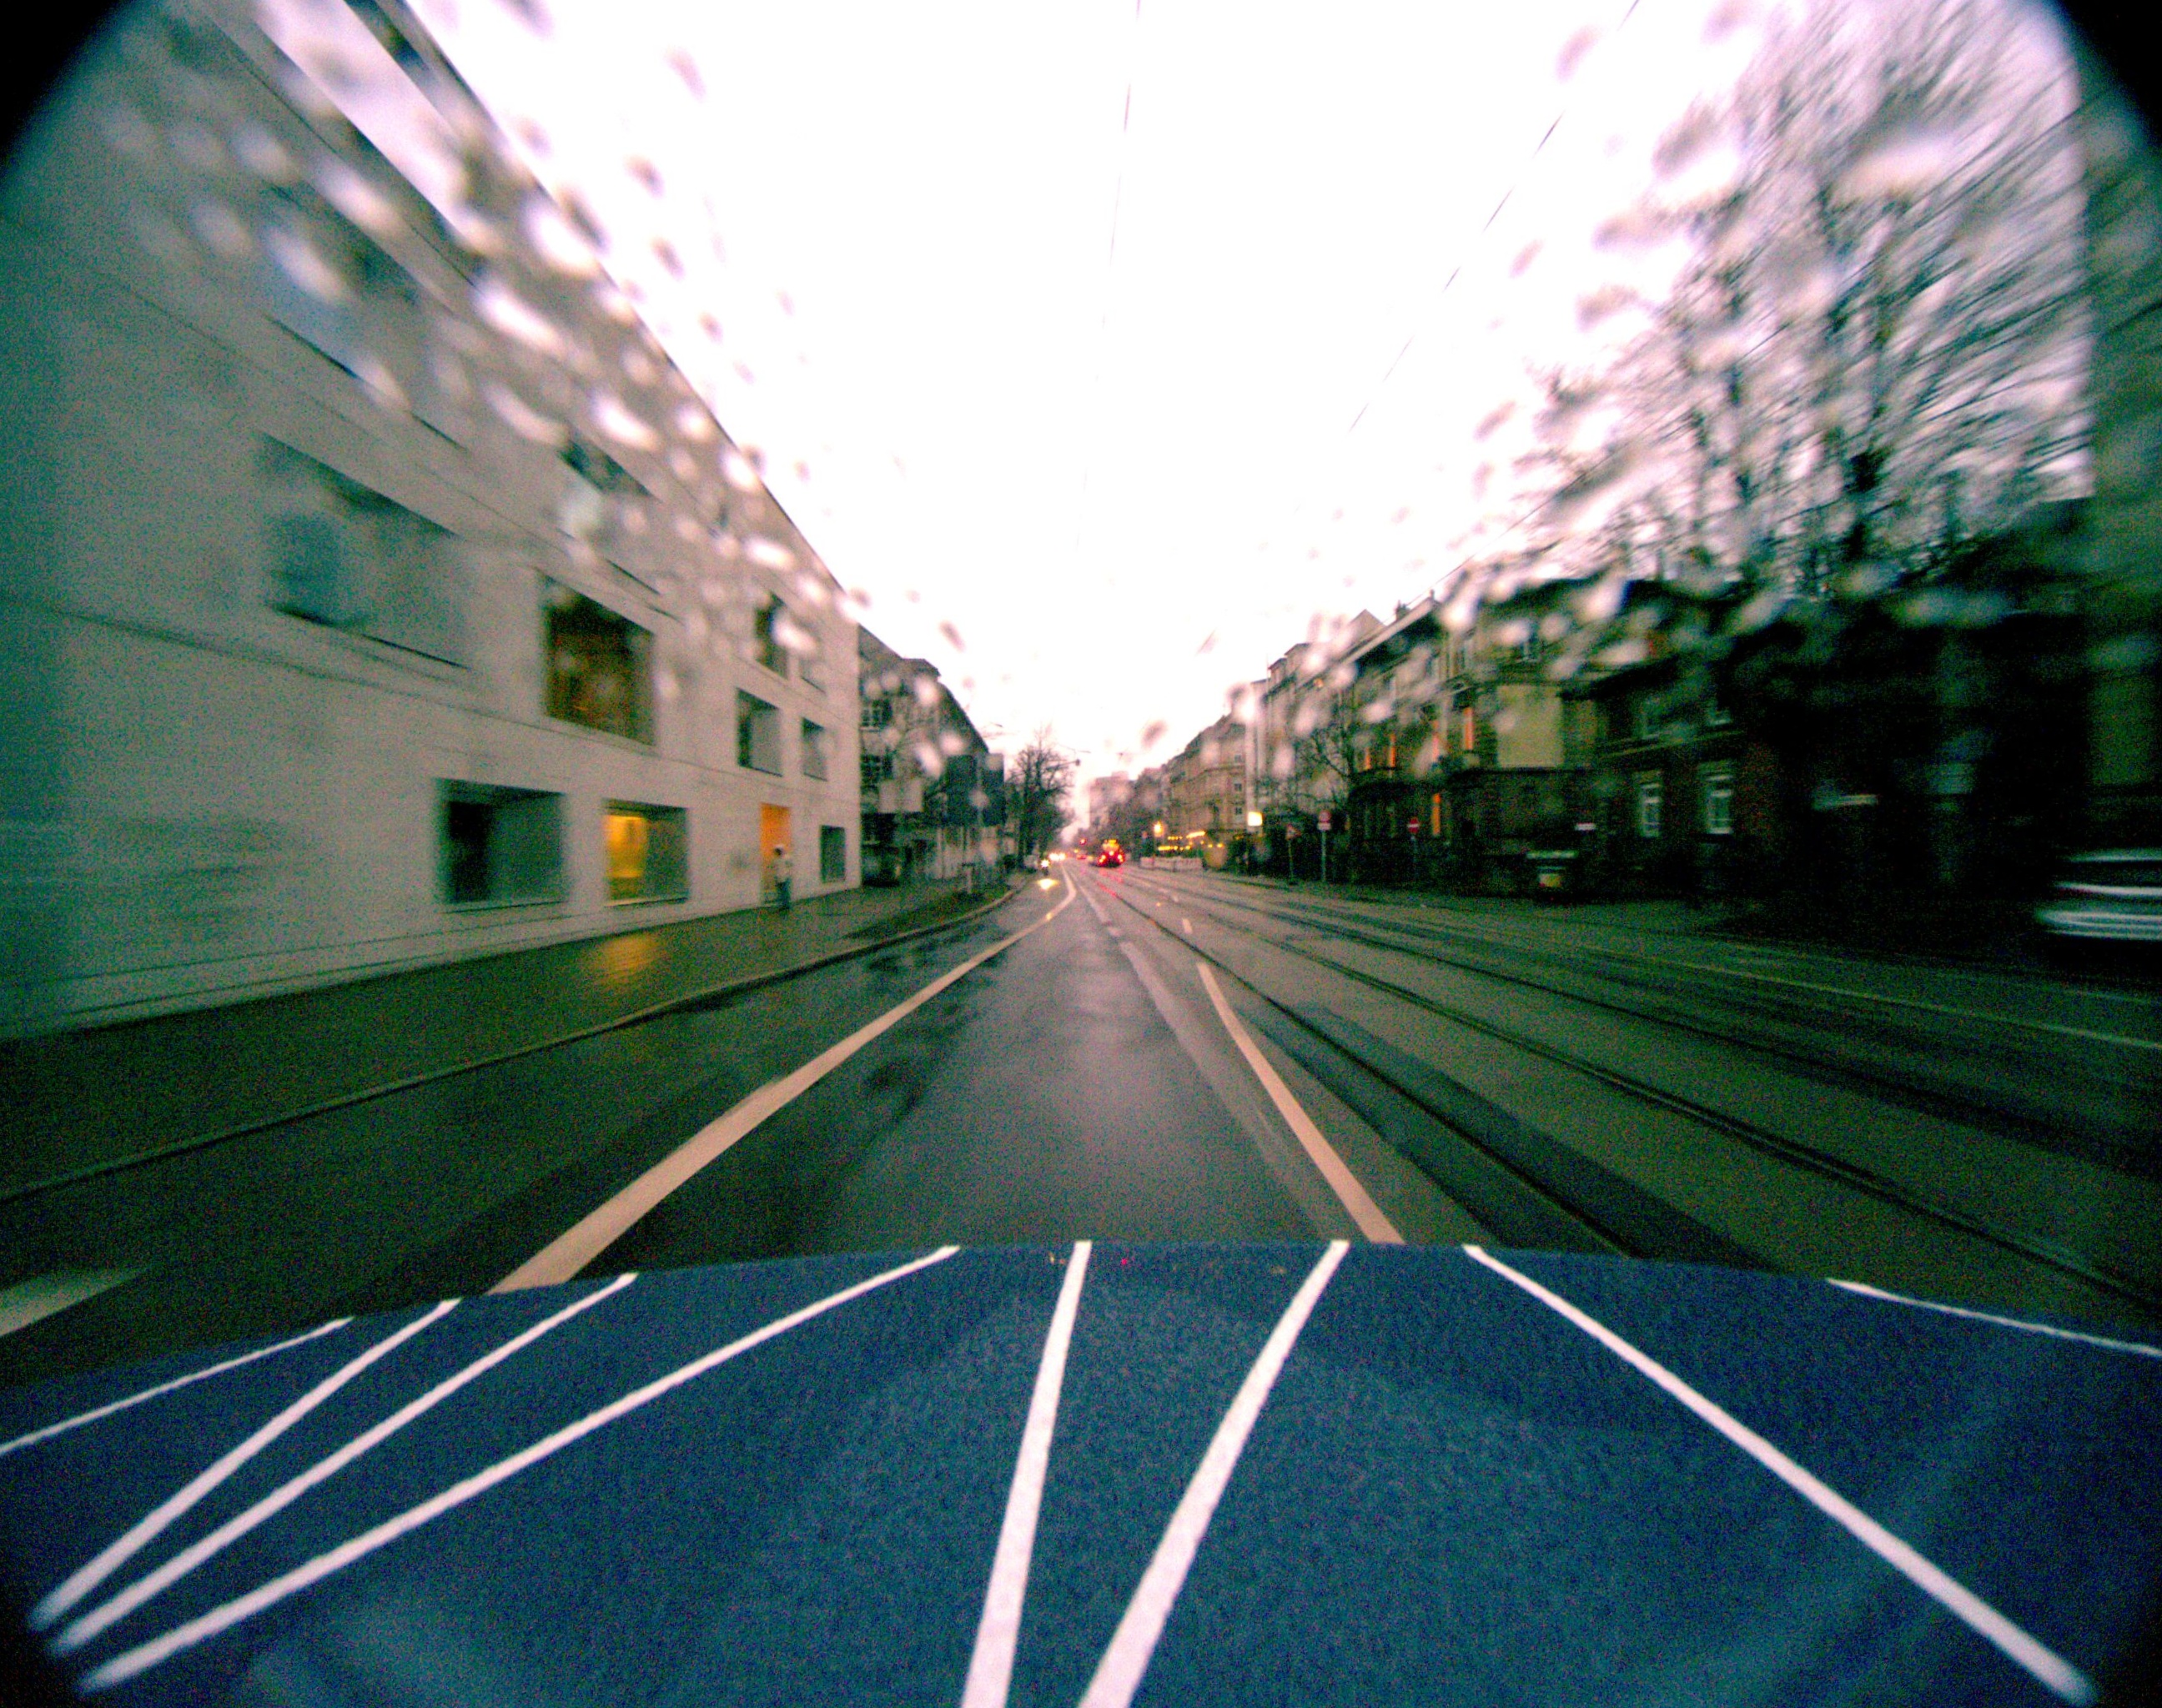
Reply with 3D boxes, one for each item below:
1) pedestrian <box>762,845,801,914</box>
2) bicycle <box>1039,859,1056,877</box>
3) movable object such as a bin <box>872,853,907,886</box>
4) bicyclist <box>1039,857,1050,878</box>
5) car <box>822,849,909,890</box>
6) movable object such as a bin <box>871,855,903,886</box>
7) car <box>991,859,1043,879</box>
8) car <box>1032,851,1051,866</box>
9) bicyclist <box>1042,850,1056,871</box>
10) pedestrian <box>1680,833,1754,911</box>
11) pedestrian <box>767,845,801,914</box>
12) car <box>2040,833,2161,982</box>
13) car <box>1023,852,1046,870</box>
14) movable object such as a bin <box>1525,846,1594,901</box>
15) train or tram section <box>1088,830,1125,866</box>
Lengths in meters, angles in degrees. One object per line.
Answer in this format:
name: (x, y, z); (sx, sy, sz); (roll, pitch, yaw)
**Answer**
pedestrian: (-8.189, 0.686, 20.783); (0.773, 1.848, 0.718); (0, 1, 1)
bicycle: (-2.186, 0.911, 49.371); (0.723, 1.084, 2.287); (-2, -1, 6)
movable object such as a bin: (-8.788, 0.695, 34.992); (1.259, 1.437, 1.418); (-1, 1, -1)
bicyclist: (-2.854, 1.057, 58.917); (0.749, 1.572, 0.797); (-3, 1, -6)
car: (-9.902, 0.691, 35.091); (3.459, 1.637, 1.731); (-3, 1, -1)
movable object such as a bin: (-9.375, 0.774, 36.801); (1.260, 1.437, 1.418); (-1, 1, -4)
car: (-5.166, 1.187, 61.256); (3.859, 1.421, 1.860); (-3, 1, -18)
car: (-4.199, 0.446, 81.199); (1.658, 1.507, 3.502); (-3, 1, 3)
bicyclist: (-2.088, 0.428, 49.649); (0.716, 1.335, 0.720); (-3, 1, 6)
pedestrian: (14.691, 0.402, 17.557); (0.925, 1.693, 0.946); (-4, 1, -24)
pedestrian: (-8.118, 0.680, 20.780); (0.657, 1.849, 0.659); (0, 1, 0)
car: (14.334, 0.586, 9.855); (4.190, 1.582, 1.771); (-4, 1, -30)
car: (-4.357, 0.641, 71.331); (1.658, 1.507, 3.502); (-3, 1, 3)
movable object such as a bin: (13.519, 0.542, 21.472); (0.988, 1.456, 1.341); (-4, 1, -39)
train or tram section: (2.880, -0.750, 95.964); (2.886, 3.715, 27.326); (-3, 1, -1)
